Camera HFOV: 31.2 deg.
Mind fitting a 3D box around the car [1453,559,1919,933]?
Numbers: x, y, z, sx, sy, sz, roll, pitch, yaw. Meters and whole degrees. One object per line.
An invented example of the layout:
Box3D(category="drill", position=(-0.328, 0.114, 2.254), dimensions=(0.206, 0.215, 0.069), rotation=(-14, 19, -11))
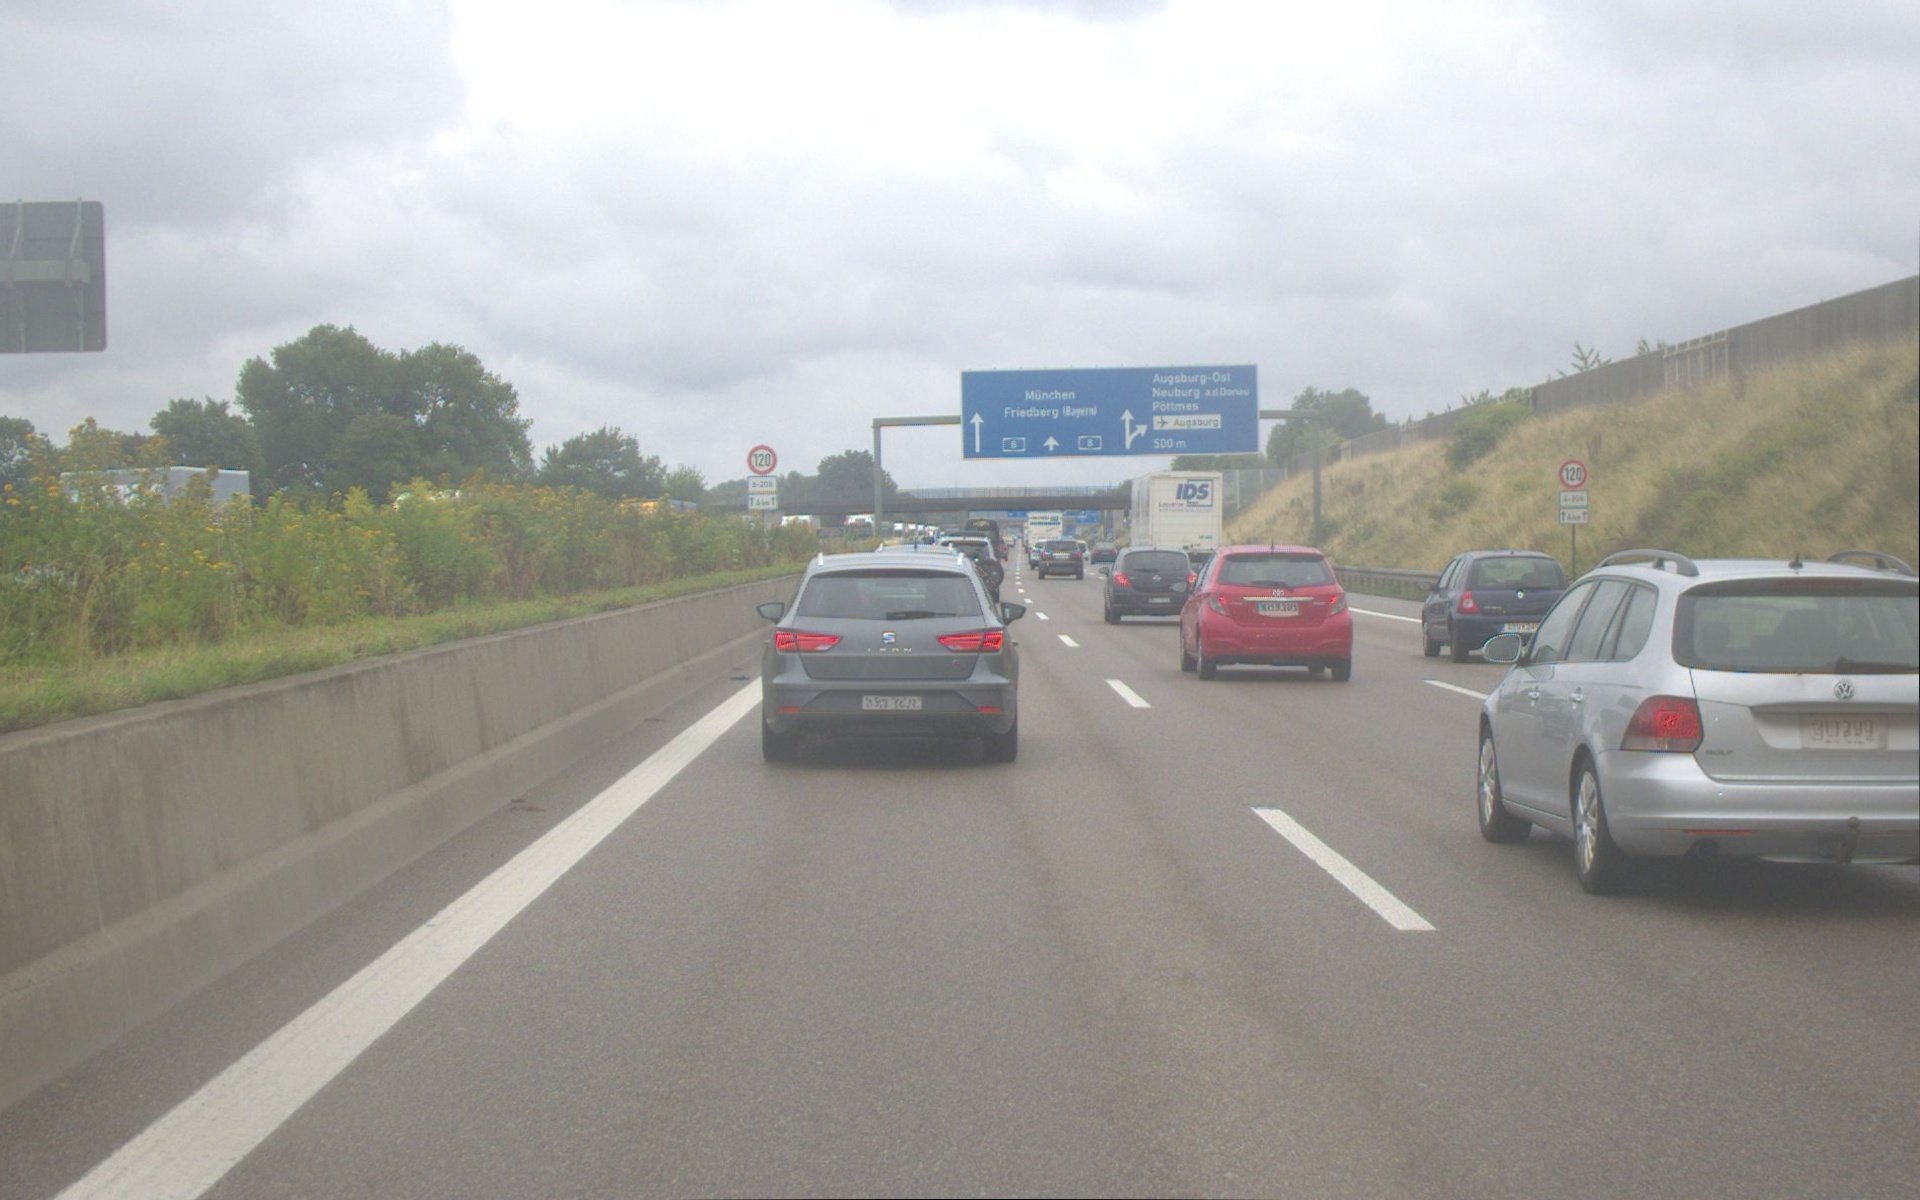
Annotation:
Box3D(category="car", position=(3.458, 0.549, 15.785), dimensions=(1.742, 1.420, 4.517), rotation=(-1, 1, 0))

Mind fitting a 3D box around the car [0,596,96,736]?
Box3D(category="car", position=(-13.583, 0.884, 48.379), dimensions=(1.859, 1.814, 4.000), rotation=(0, 1, 0))

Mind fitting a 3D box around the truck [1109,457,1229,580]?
Box3D(category="truck", position=(7.760, -2.970, 130.315), dimensions=(3.283, 4.280, 19.034), rotation=(1, 1, 0))

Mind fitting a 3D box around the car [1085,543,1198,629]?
Box3D(category="car", position=(3.378, -0.292, 64.768), dimensions=(1.921, 1.516, 4.622), rotation=(0, 1, 0))

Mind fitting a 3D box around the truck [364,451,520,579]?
Box3D(category="truck", position=(-16.897, -2.726, 112.918), dimensions=(3.184, 3.953, 10.810), rotation=(1, 1, 1))

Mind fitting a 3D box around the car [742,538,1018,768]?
Box3D(category="car", position=(-0.536, 0.319, 24.237), dimensions=(1.768, 1.462, 4.000), rotation=(1, 1, -1))

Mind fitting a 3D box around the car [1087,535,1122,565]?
Box3D(category="car", position=(9.325, -3.241, 222.128), dimensions=(1.993, 1.853, 4.391), rotation=(0, 1, -2))

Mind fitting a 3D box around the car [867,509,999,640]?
Box3D(category="car", position=(-0.359, -0.368, 48.309), dimensions=(1.754, 1.744, 4.000), rotation=(1, 1, 0))

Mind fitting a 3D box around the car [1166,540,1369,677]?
Box3D(category="car", position=(3.436, 0.050, 39.207), dimensions=(1.891, 1.442, 4.685), rotation=(0, 1, 0))

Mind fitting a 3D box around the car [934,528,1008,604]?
Box3D(category="car", position=(0.257, -0.864, 85.344), dimensions=(1.704, 1.790, 3.855), rotation=(-2, 1, -1))

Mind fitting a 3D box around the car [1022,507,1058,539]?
Box3D(category="car", position=(5.104, -4.925, 219.956), dimensions=(1.993, 2.007, 4.001), rotation=(-1, 1, -2))

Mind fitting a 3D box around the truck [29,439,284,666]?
Box3D(category="truck", position=(-17.456, -1.032, 75.450), dimensions=(3.225, 4.633, 9.674), rotation=(1, 1, 0))

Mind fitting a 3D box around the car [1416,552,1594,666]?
Box3D(category="car", position=(7.017, 0.087, 44.576), dimensions=(1.702, 1.396, 3.875), rotation=(1, 1, 1))

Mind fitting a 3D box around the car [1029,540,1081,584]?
Box3D(category="car", position=(3.698, -1.487, 134.463), dimensions=(1.845, 1.681, 4.000), rotation=(1, 1, -1))
